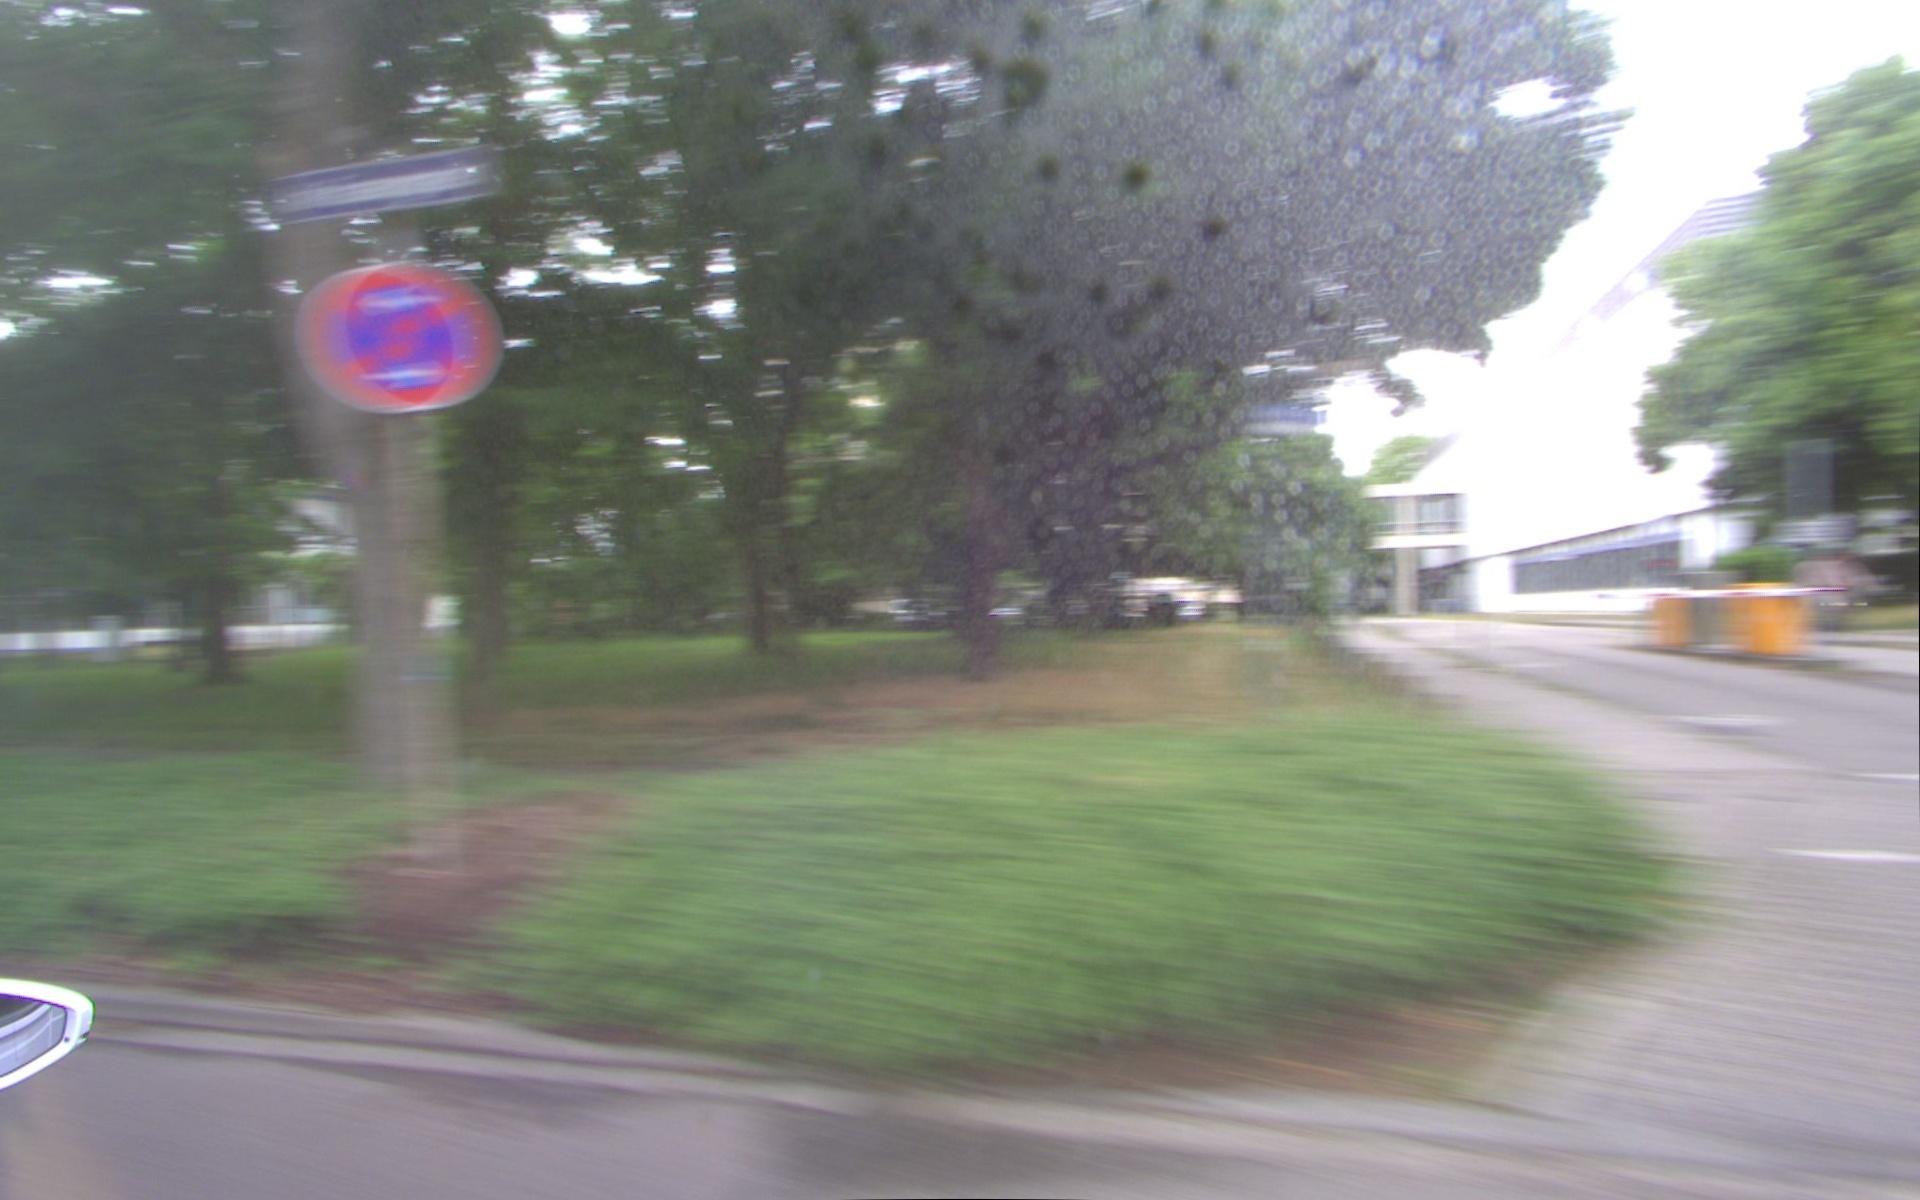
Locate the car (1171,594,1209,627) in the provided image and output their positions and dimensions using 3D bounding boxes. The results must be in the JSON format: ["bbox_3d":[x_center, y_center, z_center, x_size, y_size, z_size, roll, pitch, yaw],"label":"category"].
[{"bbox_3d":[13.123,0.640,57.377,1.962,1.784,3.999,-2,-1,11],"label":"car"}]

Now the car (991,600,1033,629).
[{"bbox_3d":[3.159,0.857,59.848,1.962,1.639,3.998,-2,-1,11],"label":"car"}]

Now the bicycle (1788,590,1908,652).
[{"bbox_3d":[16.843,0.375,19.080,0.854,1.089,2.138,-1,0,16],"label":"bicycle"}]

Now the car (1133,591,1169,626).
[{"bbox_3d":[11.058,0.525,58.035,1.962,1.905,3.999,-2,-2,11],"label":"car"}]

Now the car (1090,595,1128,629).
[{"bbox_3d":[8.750,0.735,58.544,1.962,1.816,4.000,-2,-2,11],"label":"car"}]

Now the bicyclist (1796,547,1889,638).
[{"bbox_3d":[16.808,-0.132,19.105,1.002,1.666,0.922,-1,1,16],"label":"bicyclist"}]

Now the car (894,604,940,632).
[{"bbox_3d":[-2.619,1.092,61.854,1.887,1.639,3.998,-2,-1,11],"label":"car"}]
